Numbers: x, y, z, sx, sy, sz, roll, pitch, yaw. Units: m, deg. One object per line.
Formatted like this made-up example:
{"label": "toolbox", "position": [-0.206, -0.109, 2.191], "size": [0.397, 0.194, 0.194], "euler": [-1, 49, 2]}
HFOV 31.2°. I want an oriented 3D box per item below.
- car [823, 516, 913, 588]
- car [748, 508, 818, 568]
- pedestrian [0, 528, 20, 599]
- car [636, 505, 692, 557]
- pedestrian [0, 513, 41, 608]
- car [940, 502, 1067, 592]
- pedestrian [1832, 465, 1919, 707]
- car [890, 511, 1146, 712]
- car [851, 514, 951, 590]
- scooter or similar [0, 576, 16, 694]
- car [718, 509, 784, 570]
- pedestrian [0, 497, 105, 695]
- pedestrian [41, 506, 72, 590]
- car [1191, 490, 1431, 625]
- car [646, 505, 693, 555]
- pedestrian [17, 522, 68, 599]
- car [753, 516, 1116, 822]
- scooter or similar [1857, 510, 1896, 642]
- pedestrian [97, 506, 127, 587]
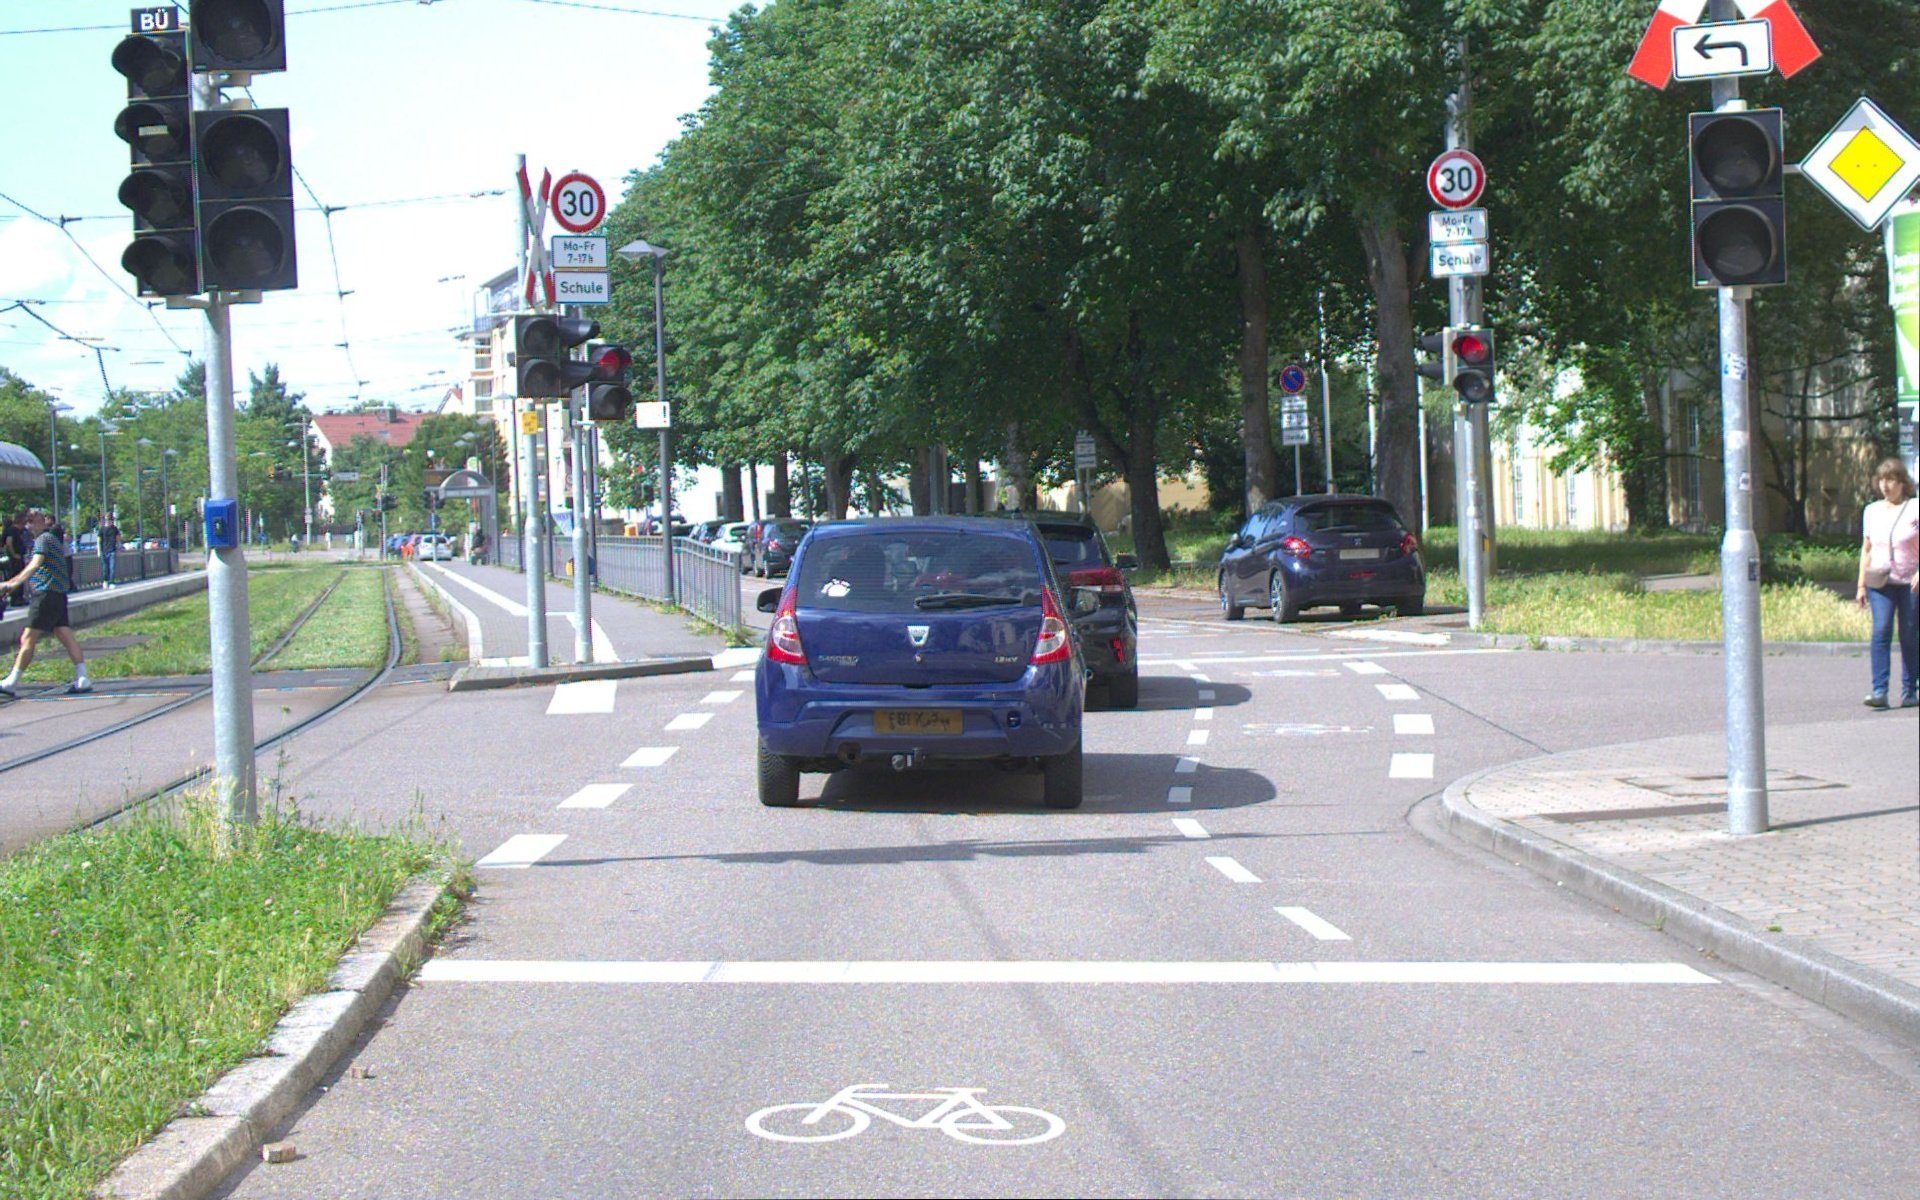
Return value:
{"label": "car", "position": [-2.096, -1.108, 77.335], "size": [1.851, 1.510, 4.001], "euler": [-2, 2, -3]}
{"label": "car", "position": [-4.919, -1.739, 95.224], "size": [1.827, 1.532, 4.001], "euler": [-3, 2, -3]}
{"label": "pedestrian", "position": [-19.659, -0.757, 70.819], "size": [0.488, 1.447, 0.464], "euler": [-3, 2, -18]}
{"label": "car", "position": [-10.493, -2.467, 122.203], "size": [1.830, 1.755, 4.001], "euler": [-2, 2, -3]}
{"label": "pedestrian", "position": [-17.645, -0.747, 64.413], "size": [0.604, 1.760, 0.639], "euler": [-2, 1, 0]}
{"label": "car", "position": [0.728, -0.956, 60.616], "size": [1.861, 1.440, 4.001], "euler": [-4, 2, -3]}
{"label": "pedestrian", "position": [6.485, -0.107, 23.935], "size": [0.673, 1.642, 0.763], "euler": [-2, 1, 20]}
{"label": "car", "position": [0.379, 0.036, 26.168], "size": [1.700, 1.363, 3.515], "euler": [-1, 2, -3]}
{"label": "car", "position": [-1.279, -1.043, 72.640], "size": [1.861, 1.440, 4.001], "euler": [-4, 2, -3]}
{"label": "scooter or similar", "position": [-9.239, 0.348, 31.563], "size": [0.954, 1.061, 0.797], "euler": [-4, 2, -9]}
{"label": "car", "position": [-6.325, -1.839, 103.788], "size": [1.617, 1.744, 4.001], "euler": [-2, 2, -8]}
{"label": "pedestrian", "position": [-8.484, -0.050, 32.003], "size": [0.870, 1.769, 1.004], "euler": [-3, 1, -10]}
{"label": "pedestrian", "position": [-18.642, -1.078, 70.930], "size": [0.488, 1.706, 0.464], "euler": [-3, 2, -18]}
{"label": "car", "position": [4.065, -0.515, 40.379], "size": [1.765, 1.428, 3.905], "euler": [-3, 2, -10]}
{"label": "car", "position": [-10.835, -2.621, 128.310], "size": [1.667, 1.765, 4.001], "euler": [-2, 2, -5]}
{"label": "pedestrian", "position": [-17.351, -0.746, 65.007], "size": [0.655, 1.421, 0.562], "euler": [-2, 2, 28]}
{"label": "car", "position": [-0.159, 0.300, 19.022], "size": [1.768, 1.457, 3.776], "euler": [-2, 2, -1]}
{"label": "scooter or similar", "position": [8.564, -0.234, 32.124], "size": [0.305, 1.185, 1.161], "euler": [-1, 2, 14]}
{"label": "pedestrian", "position": [-21.149, -1.341, 85.750], "size": [0.660, 2.006, 0.804], "euler": [-2, 1, -14]}
